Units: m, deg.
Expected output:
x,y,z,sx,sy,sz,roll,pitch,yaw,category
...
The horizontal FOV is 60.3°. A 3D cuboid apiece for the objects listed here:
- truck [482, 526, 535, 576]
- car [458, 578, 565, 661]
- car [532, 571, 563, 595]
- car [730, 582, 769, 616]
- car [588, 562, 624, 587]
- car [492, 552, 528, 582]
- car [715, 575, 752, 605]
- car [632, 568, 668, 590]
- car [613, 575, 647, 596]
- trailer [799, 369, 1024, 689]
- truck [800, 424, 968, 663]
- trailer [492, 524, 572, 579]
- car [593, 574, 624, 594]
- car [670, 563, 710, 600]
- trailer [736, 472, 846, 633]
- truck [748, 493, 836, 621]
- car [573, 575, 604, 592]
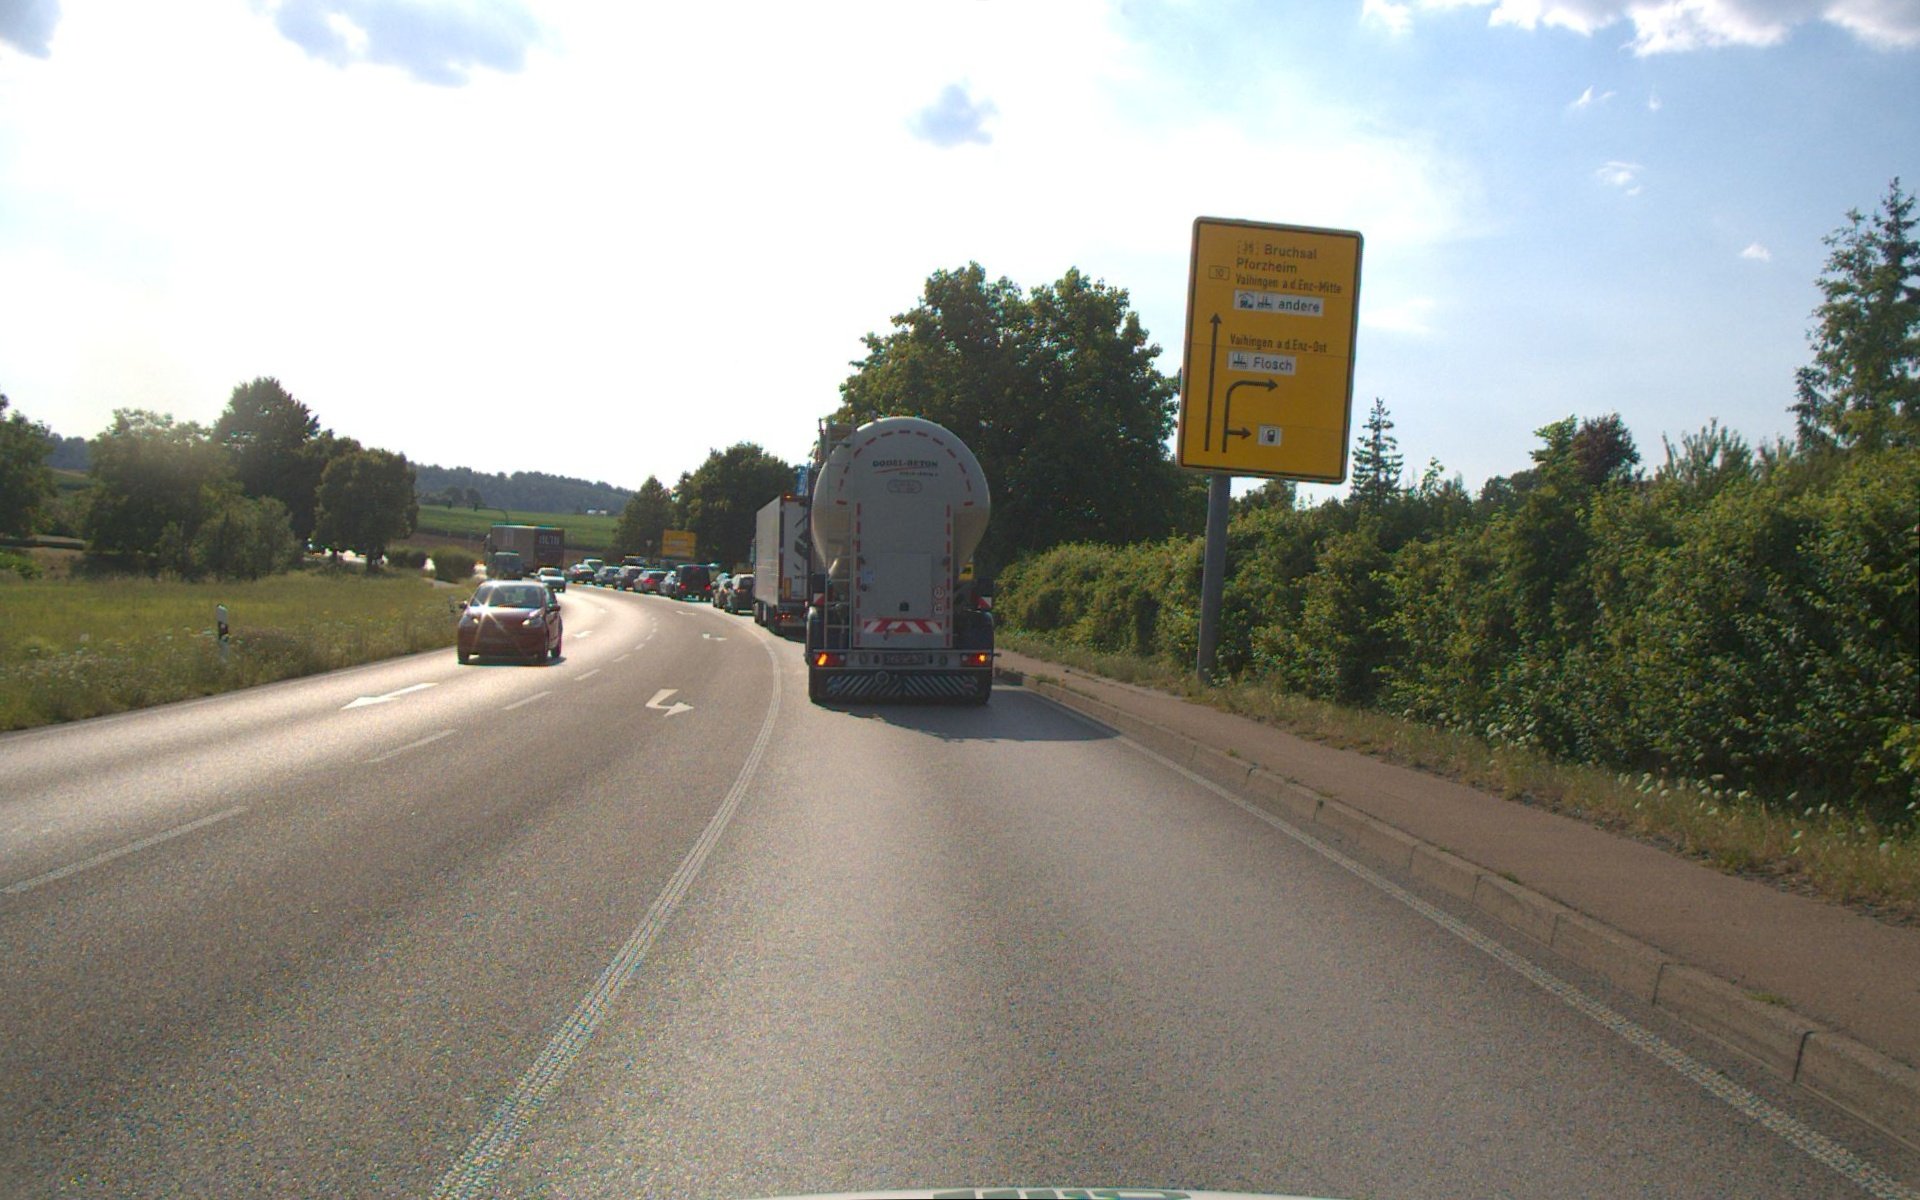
x,y,z,sx,sy,sz,roll,pitch,yaw,category
-41.552,-4.504,152.060,3.339,4.426,5.651,2,1,-29,truck
-8.513,0.331,31.637,1.556,1.492,3.600,0,1,-9,car
-26.013,-1.084,104.210,1.680,1.453,4.158,1,0,-17,car
-9.228,-0.060,72.392,1.551,1.364,3.418,2,1,-9,car
-29.918,-2.165,139.659,1.971,2.048,3.963,1,2,-28,car
-33.326,-2.444,122.426,1.970,2.174,4.747,1,0,-22,car
-11.036,-0.502,80.545,1.552,1.364,3.416,2,1,-11,car
-20.306,-1.401,108.353,1.559,1.364,3.401,2,1,-23,car
-22.830,-1.011,114.324,1.559,1.364,3.401,2,1,-23,car
-1.081,-0.961,26.285,2.853,4.076,9.919,1,1,-5,trailer
-1.488,-0.990,30.673,2.853,4.076,4.055,1,0,-5,truck
-37.596,-4.252,144.783,3.338,4.426,14.158,2,1,-29,trailer
-25.959,-1.216,121.980,1.559,1.364,3.401,2,1,-23,car
-15.445,-1.053,94.534,1.832,2.049,3.702,1,1,-17,car
-5.432,-1.416,53.303,2.898,4.390,14.158,2,1,-6,trailer
-6.139,-1.532,60.438,2.895,4.378,4.925,2,0,-6,truck
-28.796,-1.299,128.169,1.746,1.227,3.401,2,1,-23,car
